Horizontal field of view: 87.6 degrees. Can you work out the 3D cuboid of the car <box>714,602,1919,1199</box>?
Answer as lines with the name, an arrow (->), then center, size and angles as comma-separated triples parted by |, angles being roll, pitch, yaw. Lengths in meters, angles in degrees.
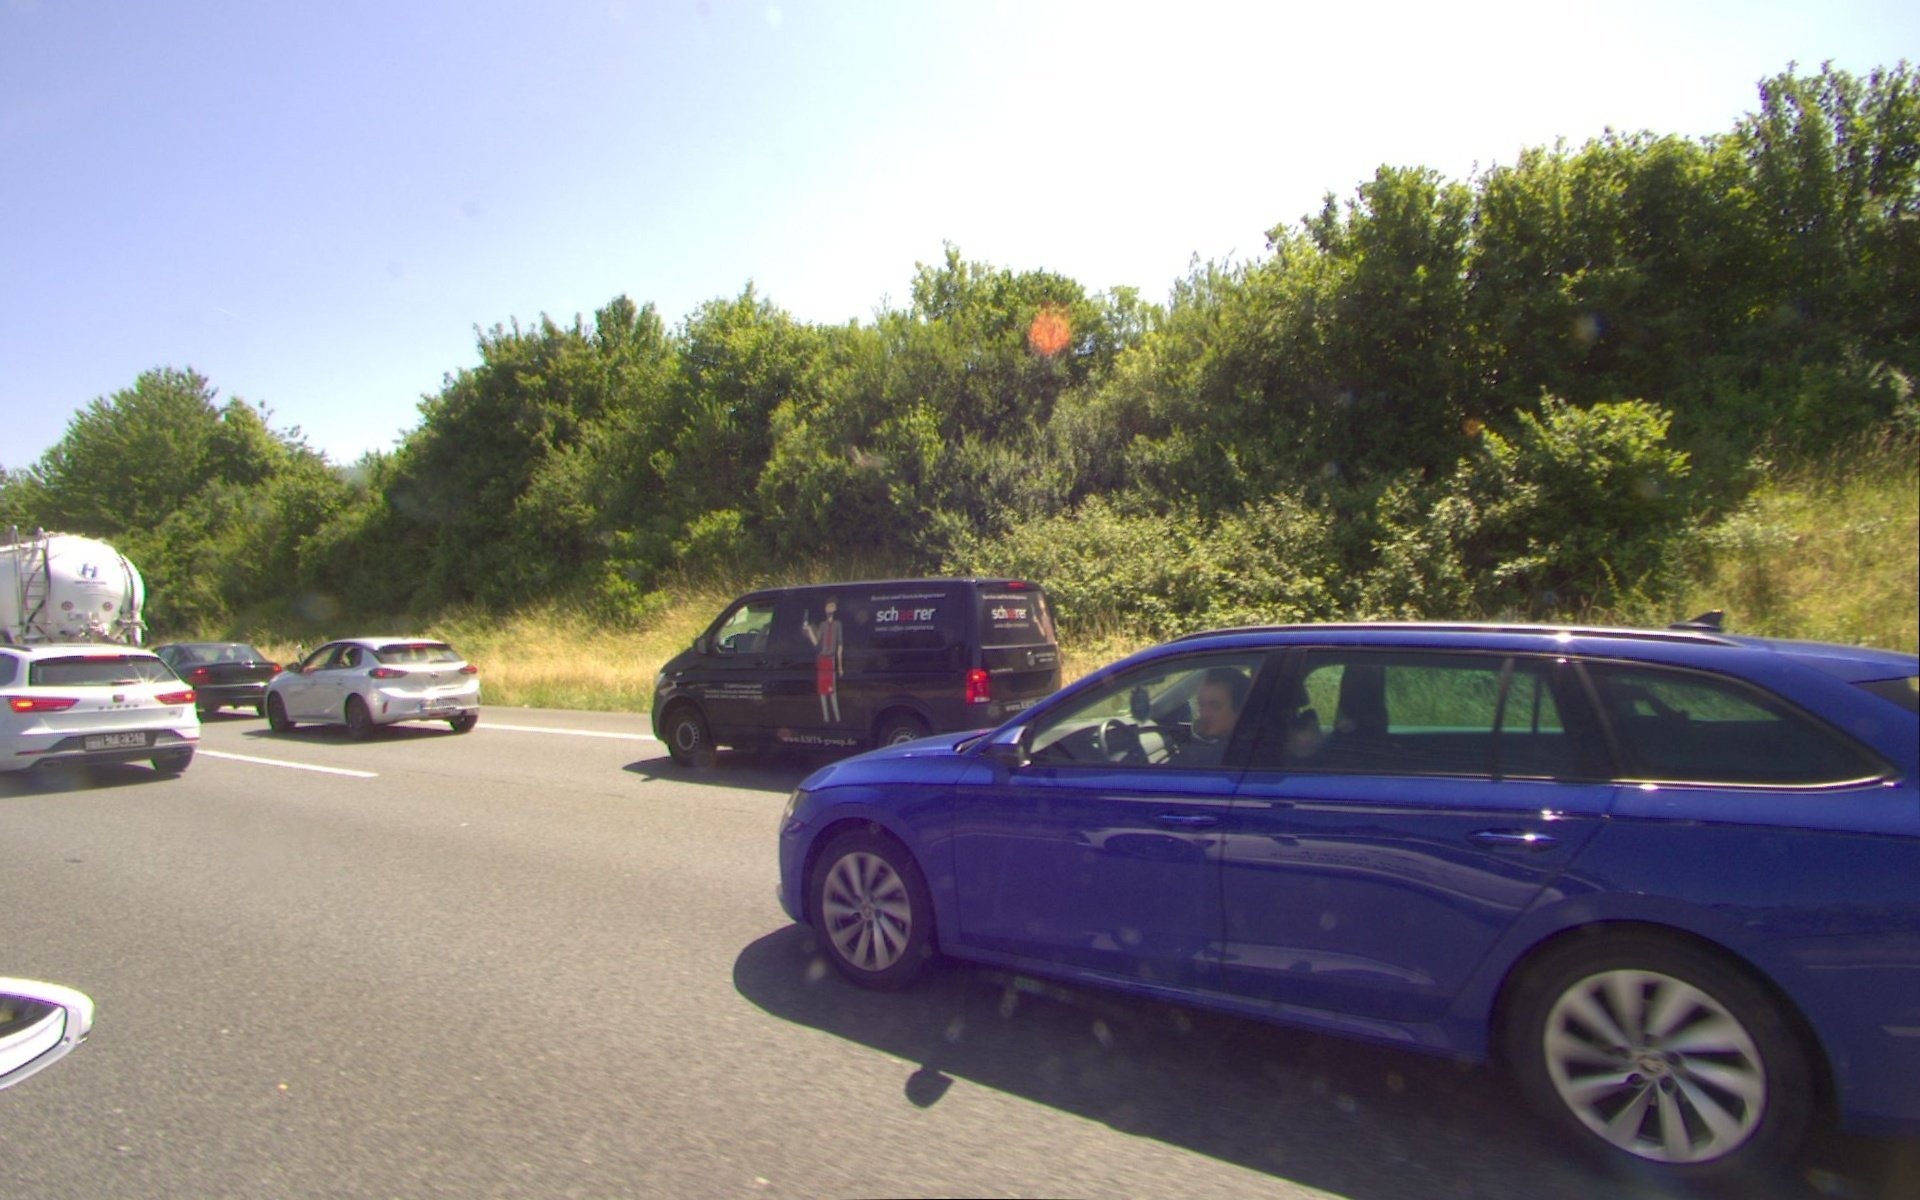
car -> 1.262, 0.804, 3.919 | 4.512, 1.435, 1.771 | -2, -1, 35

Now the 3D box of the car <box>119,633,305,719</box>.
car -> -14.331, 1.416, 19.132 | 3.935, 1.435, 1.637 | -2, 0, 34

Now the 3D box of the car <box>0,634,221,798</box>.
car -> -10.091, 1.168, 11.093 | 4.255, 1.461, 1.743 | -2, -1, 34

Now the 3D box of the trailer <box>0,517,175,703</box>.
trailer -> -23.719, 0.358, 25.164 | 11.325, 3.895, 2.755 | -2, -1, 33

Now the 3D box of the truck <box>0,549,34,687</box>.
truck -> -29.711, 0.555, 29.113 | 5.494, 3.886, 2.787 | -1, -1, 33

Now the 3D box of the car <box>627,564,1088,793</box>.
car -> -1.228, 0.764, 10.728 | 4.791, 1.965, 1.909 | -2, -1, 34

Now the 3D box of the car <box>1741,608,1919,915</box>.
car -> 6.346, 0.771, 4.859 | 3.867, 1.480, 1.658 | -2, 0, 33

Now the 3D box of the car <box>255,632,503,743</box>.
car -> -9.028, 1.249, 15.485 | 3.972, 1.462, 1.727 | -1, 0, 33
